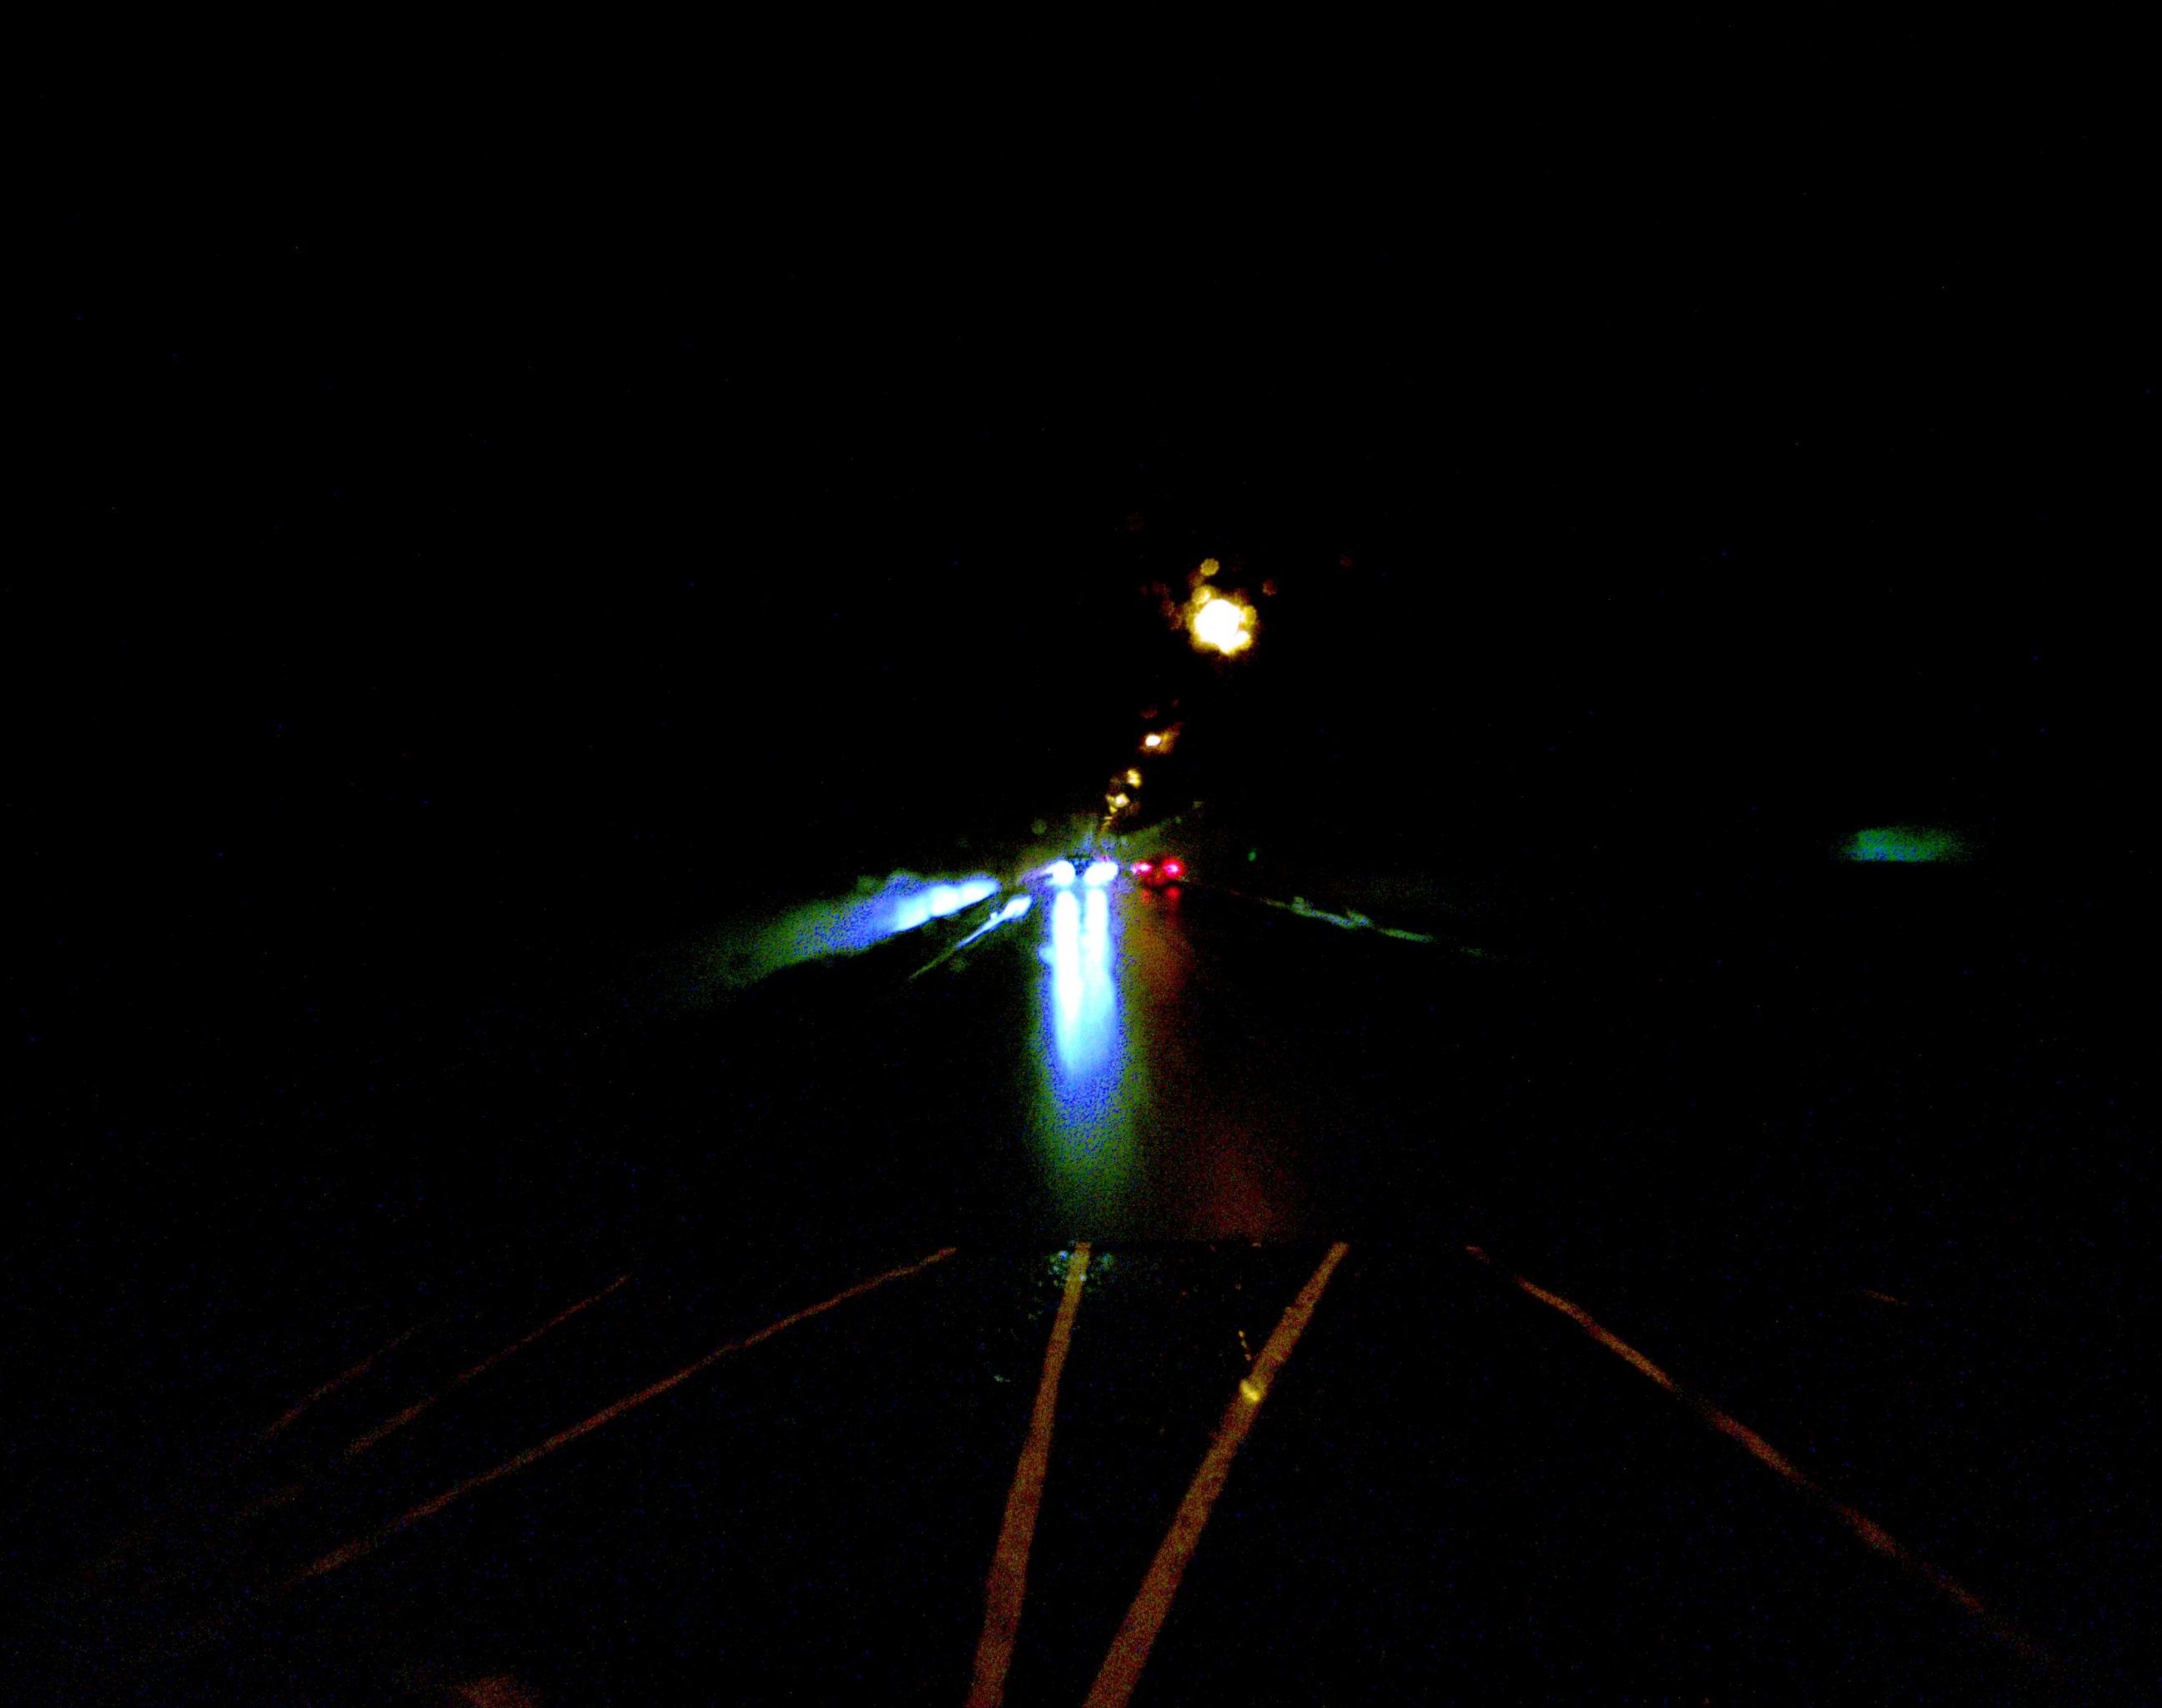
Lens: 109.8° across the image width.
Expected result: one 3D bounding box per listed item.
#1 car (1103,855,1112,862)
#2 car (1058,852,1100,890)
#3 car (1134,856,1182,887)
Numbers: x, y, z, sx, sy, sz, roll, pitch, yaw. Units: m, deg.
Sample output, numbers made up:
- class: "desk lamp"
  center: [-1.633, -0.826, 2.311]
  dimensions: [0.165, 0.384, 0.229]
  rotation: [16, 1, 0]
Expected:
- class: "car"
  center: [5.318, 0.934, 154.277]
  dimensions: [1.712, 1.410, 3.973]
  rotation: [-1, 0, 1]
- class: "car"
  center: [-0.069, 0.766, 35.705]
  dimensions: [1.829, 1.650, 3.929]
  rotation: [-1, 0, 1]
- class: "car"
  center: [3.794, 0.838, 38.277]
  dimensions: [1.998, 1.410, 4.713]
  rotation: [-1, 0, 1]
